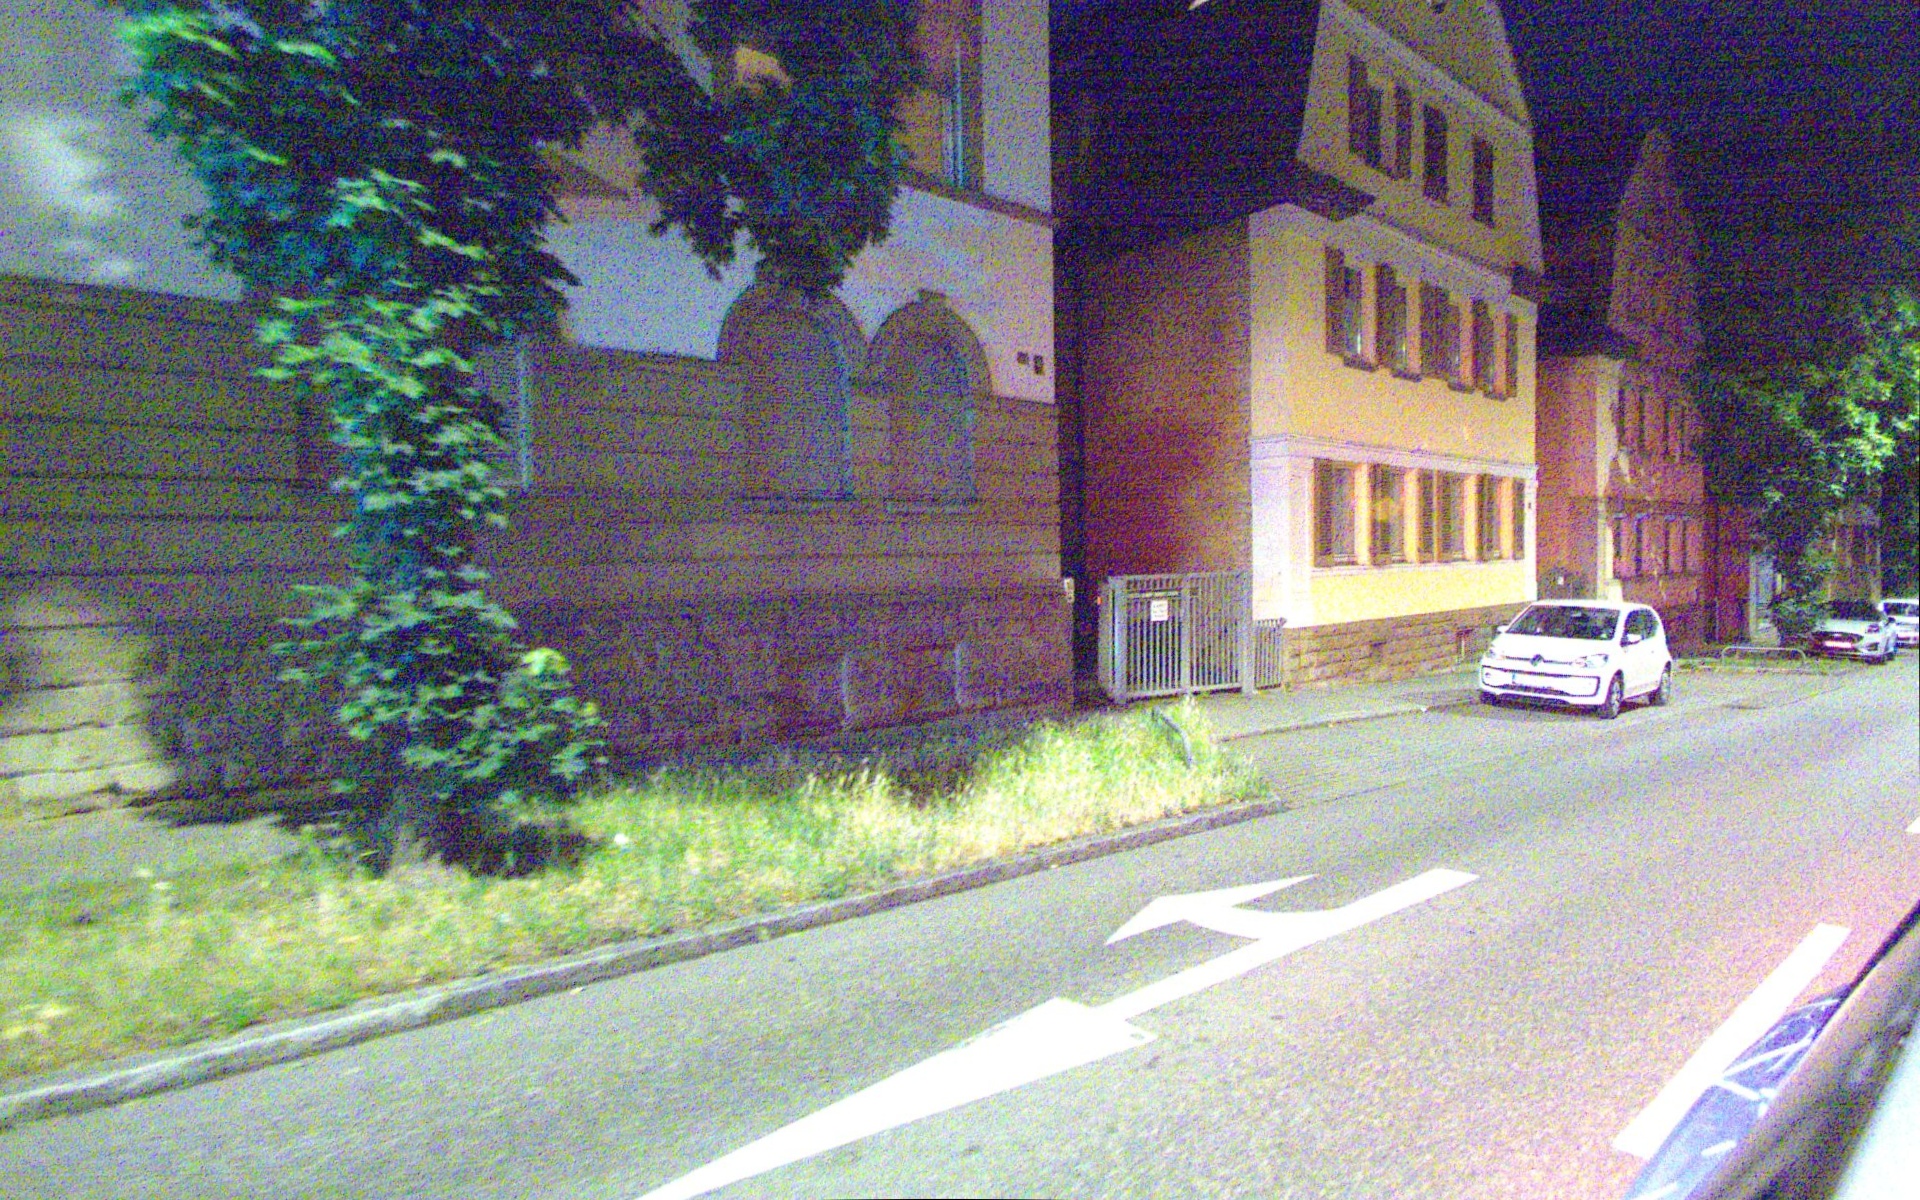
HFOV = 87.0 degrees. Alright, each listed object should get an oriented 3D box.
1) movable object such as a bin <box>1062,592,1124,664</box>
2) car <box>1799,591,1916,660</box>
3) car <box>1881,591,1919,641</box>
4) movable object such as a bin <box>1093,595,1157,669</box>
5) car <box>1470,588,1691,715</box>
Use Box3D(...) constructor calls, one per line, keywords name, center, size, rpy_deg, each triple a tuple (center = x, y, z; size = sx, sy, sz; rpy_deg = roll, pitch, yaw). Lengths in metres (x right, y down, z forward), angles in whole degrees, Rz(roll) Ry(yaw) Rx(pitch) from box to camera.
Box3D(name="movable object such as a bin", center=(2.034, 0.411, 15.461), size=(0.742, 1.062, 0.608), rpy_deg=(0, 0, -41))
Box3D(name="car", center=(23.221, 0.598, 26.147), size=(3.977, 1.572, 1.862), rpy_deg=(0, 2, -43))
Box3D(name="car", center=(33.217, 0.542, 34.786), size=(4.281, 1.617, 1.742), rpy_deg=(0, 2, -40))
Box3D(name="movable object such as a bin", center=(2.434, 0.455, 14.932), size=(0.742, 1.062, 0.608), rpy_deg=(0, 0, -41))
Box3D(name="car", center=(8.762, 0.622, 14.198), size=(3.541, 1.503, 1.671), rpy_deg=(0, 2, -42))
